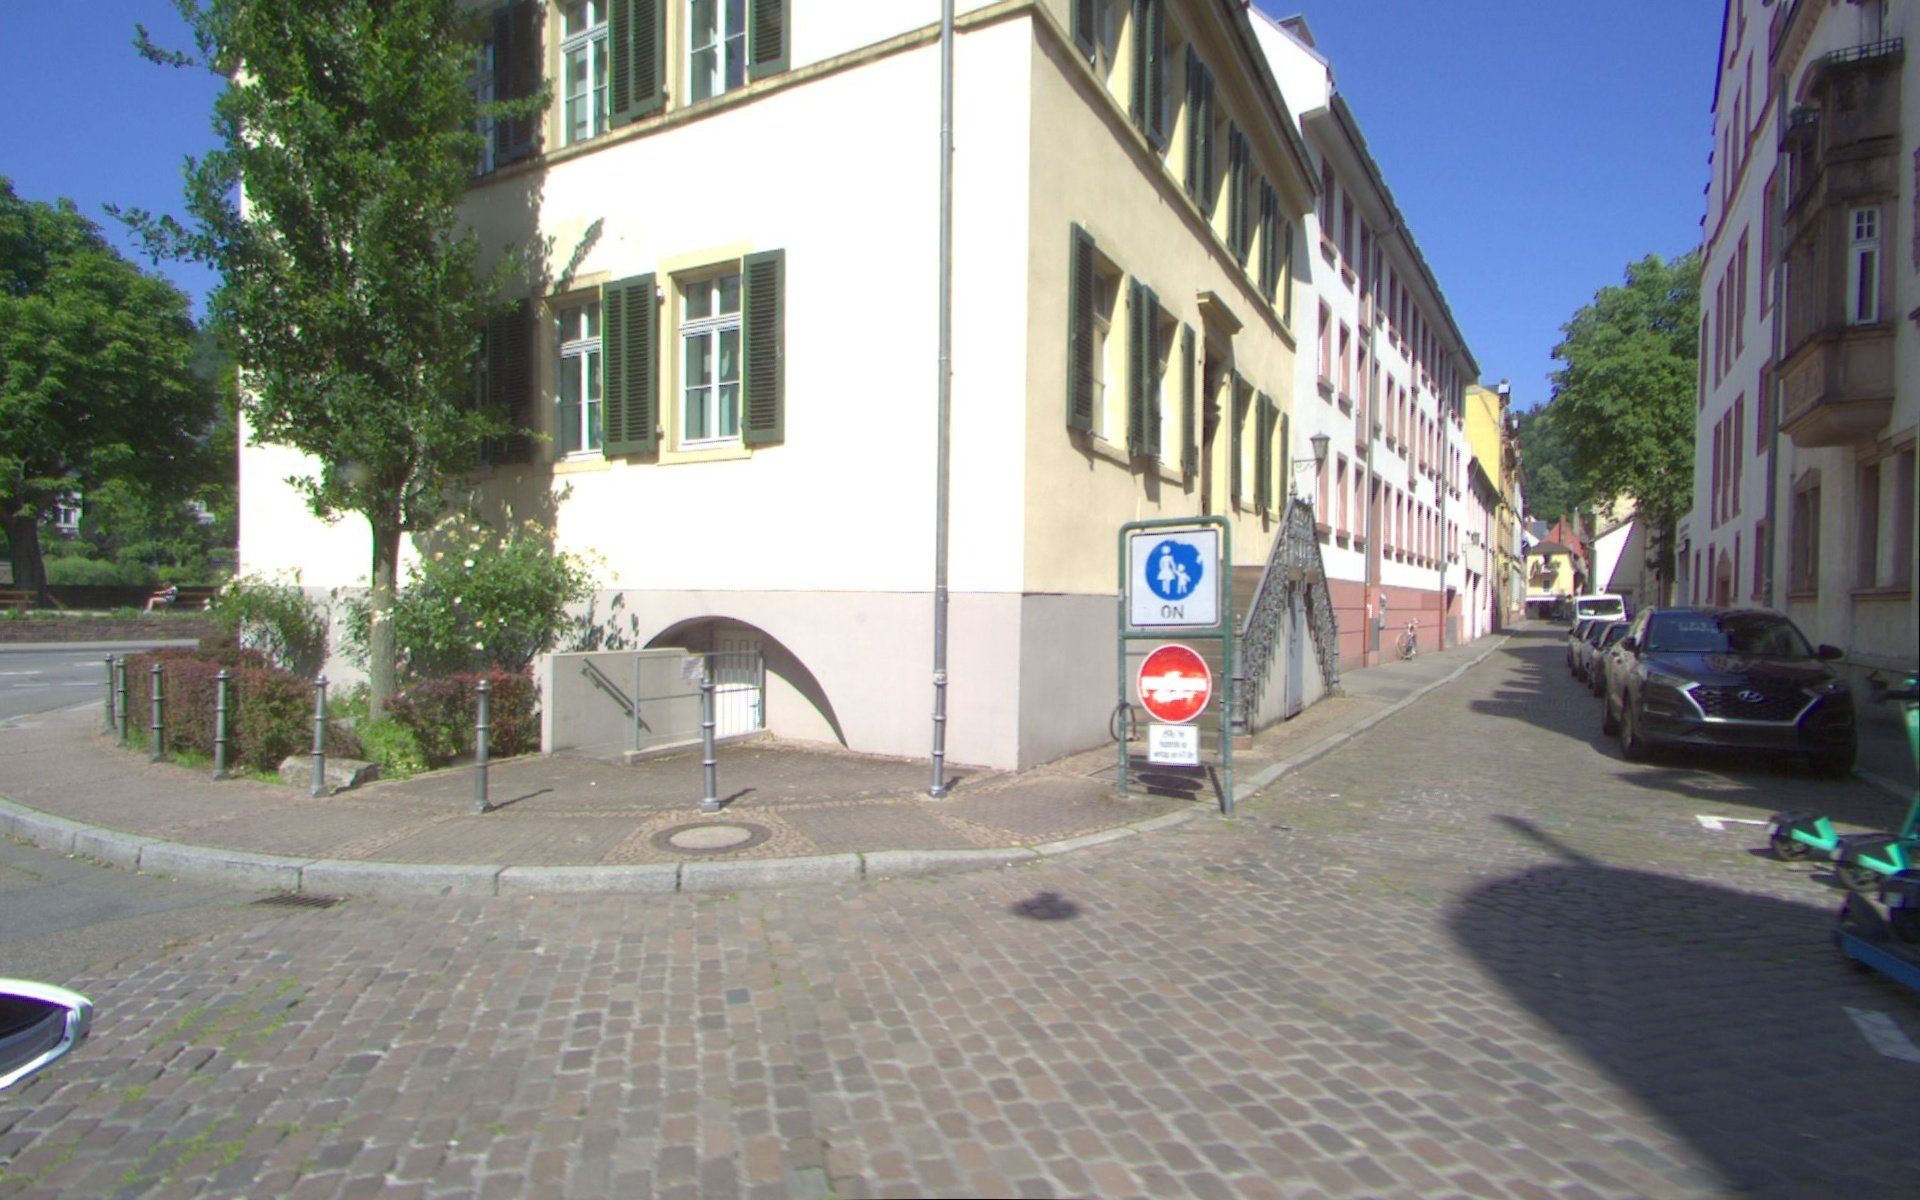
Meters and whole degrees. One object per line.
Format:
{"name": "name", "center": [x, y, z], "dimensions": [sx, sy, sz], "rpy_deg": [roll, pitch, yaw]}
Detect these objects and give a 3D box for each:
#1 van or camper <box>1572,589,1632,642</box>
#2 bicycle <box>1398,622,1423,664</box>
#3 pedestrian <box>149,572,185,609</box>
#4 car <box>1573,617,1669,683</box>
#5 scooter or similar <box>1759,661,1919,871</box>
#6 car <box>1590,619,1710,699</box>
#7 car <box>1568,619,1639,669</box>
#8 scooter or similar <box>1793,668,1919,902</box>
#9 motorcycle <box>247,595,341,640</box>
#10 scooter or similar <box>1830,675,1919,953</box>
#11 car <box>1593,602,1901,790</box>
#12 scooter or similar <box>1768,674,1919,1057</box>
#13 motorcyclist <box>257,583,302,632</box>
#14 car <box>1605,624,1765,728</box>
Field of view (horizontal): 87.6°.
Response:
{"name": "van or camper", "center": [30.492, 0.743, 47.692], "dimensions": [2.153, 2.352, 5.336], "rpy_deg": [0, -1, 30]}
{"name": "bicycle", "center": [13.257, 1.249, 29.453], "dimensions": [0.450, 1.198, 1.438], "rpy_deg": [1, 0, 33]}
{"name": "pedestrian", "center": [-28.038, -0.337, 35.421], "dimensions": [0.705, 1.225, 0.797], "rpy_deg": [-2, -3, 32]}
{"name": "car", "center": [15.486, 1.118, 23.582], "dimensions": [1.686, 1.414, 3.319], "rpy_deg": [0, -1, 30]}
{"name": "scooter or similar", "center": [5.650, 1.004, 6.133], "dimensions": [1.167, 1.225, 0.342], "rpy_deg": [1, 1, 6]}
{"name": "car", "center": [13.486, 1.084, 19.725], "dimensions": [1.686, 1.414, 3.319], "rpy_deg": [0, -1, 30]}
{"name": "car", "center": [19.574, 1.302, 30.559], "dimensions": [1.686, 1.414, 3.319], "rpy_deg": [0, -1, 30]}
{"name": "scooter or similar", "center": [5.417, 1.010, 5.509], "dimensions": [1.211, 1.225, 0.413], "rpy_deg": [1, 1, 11]}
{"name": "motorcycle", "center": [-21.111, 0.539, 31.812], "dimensions": [0.751, 1.394, 2.463], "rpy_deg": [1, 0, 26]}
{"name": "scooter or similar", "center": [4.817, 0.984, 4.827], "dimensions": [1.169, 1.225, 0.341], "rpy_deg": [1, 1, -16]}
{"name": "car", "center": [8.386, 0.881, 11.107], "dimensions": [1.969, 1.664, 3.985], "rpy_deg": [0, -1, 28]}
{"name": "scooter or similar", "center": [3.645, 0.951, 3.815], "dimensions": [0.434, 1.251, 1.189], "rpy_deg": [1, 0, 16]}
{"name": "motorcyclist", "center": [-21.338, 0.228, 31.407], "dimensions": [0.805, 1.515, 0.871], "rpy_deg": [1, 2, 26]}
{"name": "car", "center": [11.120, 1.085, 15.573], "dimensions": [1.686, 1.376, 3.319], "rpy_deg": [0, -1, 30]}
